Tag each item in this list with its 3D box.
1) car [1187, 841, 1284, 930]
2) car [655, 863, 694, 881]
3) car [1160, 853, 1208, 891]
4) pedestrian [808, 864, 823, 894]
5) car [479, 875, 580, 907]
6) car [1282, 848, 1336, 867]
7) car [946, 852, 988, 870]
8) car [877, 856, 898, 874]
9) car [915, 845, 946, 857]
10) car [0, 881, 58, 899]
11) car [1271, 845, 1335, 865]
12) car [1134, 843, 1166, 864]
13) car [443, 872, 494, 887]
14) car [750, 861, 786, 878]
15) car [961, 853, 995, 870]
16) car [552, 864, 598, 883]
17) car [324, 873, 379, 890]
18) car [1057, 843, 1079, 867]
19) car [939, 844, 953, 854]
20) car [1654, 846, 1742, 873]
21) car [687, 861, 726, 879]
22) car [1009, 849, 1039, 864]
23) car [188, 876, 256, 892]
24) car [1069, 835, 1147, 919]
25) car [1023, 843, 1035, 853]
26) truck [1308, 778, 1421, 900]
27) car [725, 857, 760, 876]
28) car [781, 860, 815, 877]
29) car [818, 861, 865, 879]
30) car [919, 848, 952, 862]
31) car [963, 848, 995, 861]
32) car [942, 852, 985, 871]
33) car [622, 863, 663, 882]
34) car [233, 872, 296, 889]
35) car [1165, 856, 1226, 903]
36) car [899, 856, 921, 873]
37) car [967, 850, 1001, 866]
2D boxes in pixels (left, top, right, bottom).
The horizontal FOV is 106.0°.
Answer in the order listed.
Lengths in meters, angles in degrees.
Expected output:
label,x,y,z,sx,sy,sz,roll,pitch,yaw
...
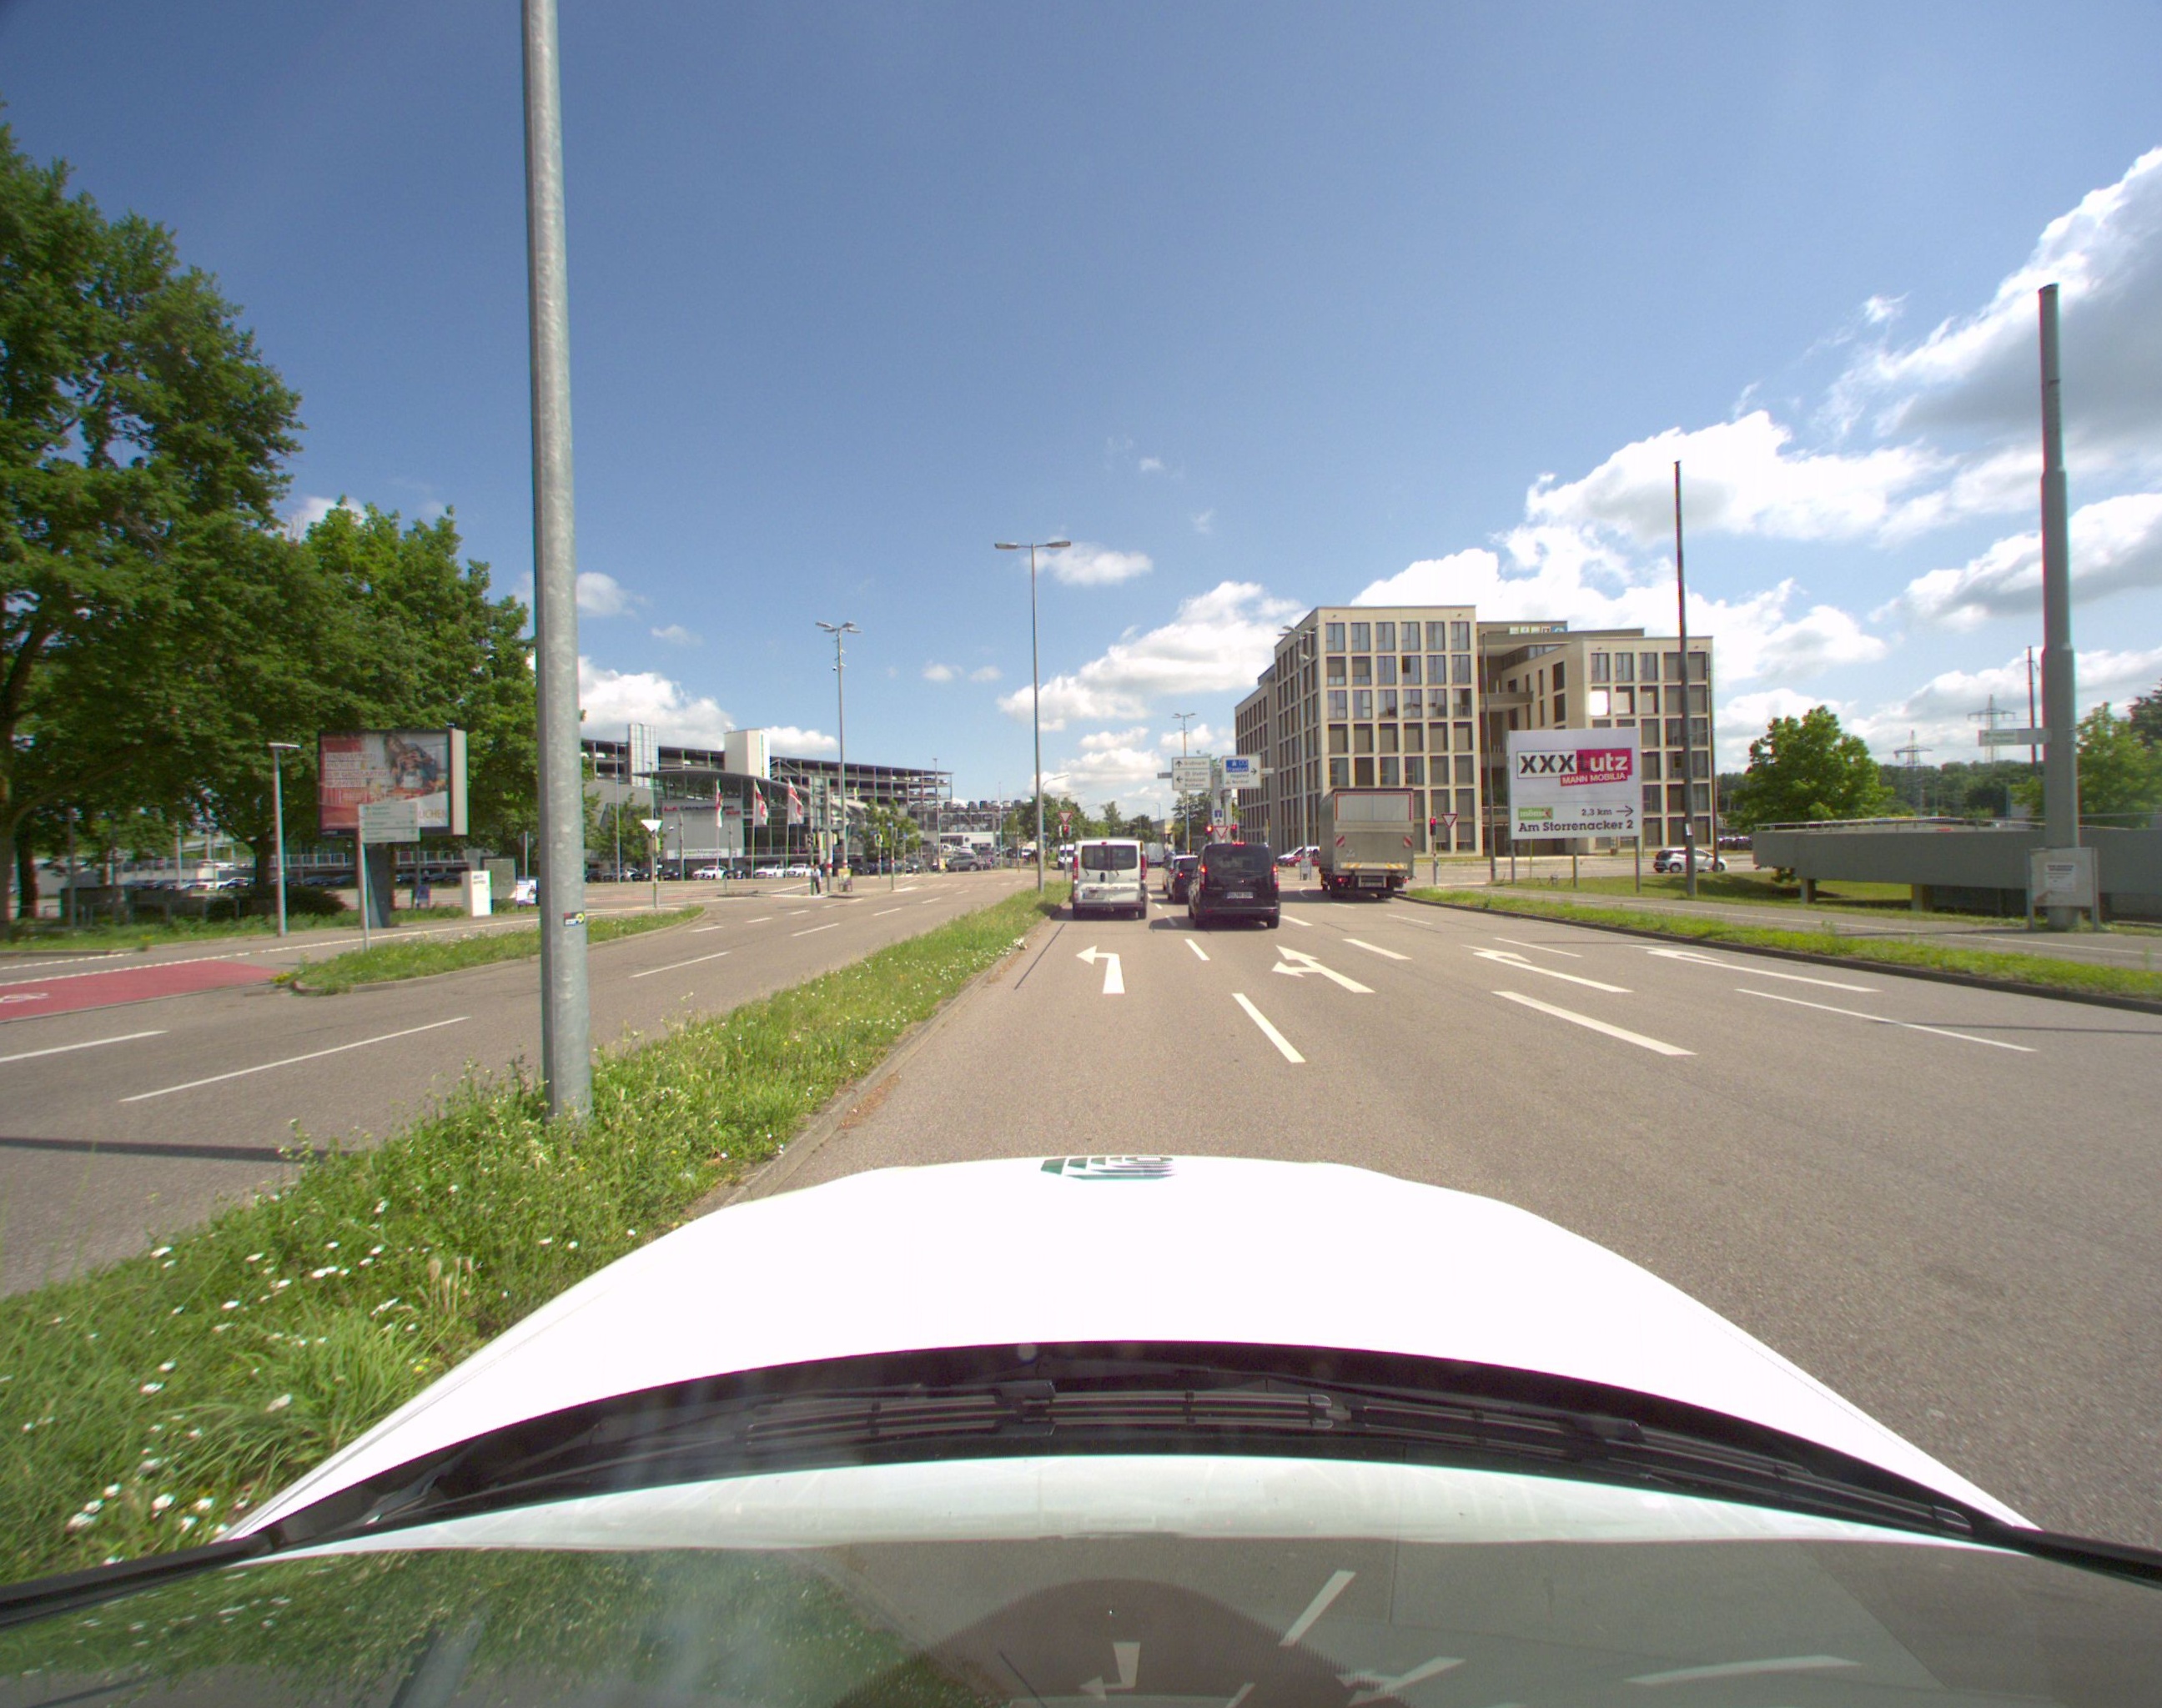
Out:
label,x,y,z,sx,sy,sz,roll,pitch,yaw
car,3.416,0.638,18.674,1.811,1.809,4.006,0,0,5
car,-36.908,1.643,74.058,1.722,1.486,3.699,-1,1,-1
car,4.314,0.737,34.516,1.733,1.543,4.003,0,-1,3
pedestrian,-13.257,1.238,40.673,0.464,1.512,0.515,-1,-1,27
car,-29.637,1.955,43.870,3.976,1.509,1.999,-1,1,-2
car,18.407,0.297,65.856,3.880,1.490,1.795,-1,0,1
car,-11.558,0.699,82.715,3.902,1.712,1.688,-3,0,-2
car,-17.798,0.988,74.740,1.820,1.552,3.980,0,0,-15
car,-22.080,-0.368,119.500,4.156,1.713,1.686,0,0,-4
car,-93.766,3.170,72.090,1.691,1.390,3.733,0,0,2
car,19.072,0.075,70.048,4.979,1.607,1.995,-1,0,-8
car,7.605,-0.083,90.355,1.994,2.255,5.493,-1,1,-11
car,-52.245,2.150,69.544,1.585,1.191,3.506,0,0,2
car,-28.616,1.404,74.519,1.902,1.376,3.750,-1,1,-2
car,-11.463,0.860,90.488,3.498,1.712,1.602,-3,0,-2
car,-44.812,1.699,72.233,1.832,1.488,3.697,-1,1,-3
car,-63.745,2.407,71.198,1.585,1.390,3.506,0,0,2
car,-1.385,0.092,82.698,1.967,2.256,4.975,-3,1,-3
car,-21.974,-0.809,132.806,1.841,1.530,3.997,-1,1,-2
car,35.774,0.316,47.296,3.836,1.466,1.696,-1,0,1
car,-34.117,1.419,74.294,1.874,1.486,3.699,-1,1,-2
car,-7.807,0.352,111.641,3.980,1.926,1.824,0,0,-5
car,-77.083,2.693,73.175,1.790,1.254,4.003,-1,1,2
car,0.797,0.567,21.510,1.847,2.018,4.005,0,0,4
car,-8.449,-0.939,132.509,1.841,1.530,3.997,-1,1,-2
truck,10.410,-0.523,30.817,3.108,3.940,8.891,-1,1,13
car,-30.800,1.141,74.203,1.752,1.660,3.614,-1,1,-2
car,-25.949,1.303,74.740,1.771,1.450,4.027,-1,1,-2
car,-21.849,1.465,74.327,3.783,1.513,1.677,-1,0,-3
car,-19.522,0.135,109.562,4.156,1.713,1.686,0,0,-4
car,-13.884,0.116,110.886,4.157,1.713,1.687,0,0,-4
car,-11.518,0.760,80.108,3.851,1.639,1.857,-3,0,-2
car,-40.618,1.668,75.528,1.810,1.664,3.791,0,0,-2
car,-72.245,2.359,72.106,1.691,1.390,3.733,0,0,2
car,3.834,0.829,27.743,1.733,1.495,4.003,0,-1,3
car,-15.802,0.968,75.158,1.820,1.552,3.980,0,0,-15
car,-11.711,0.506,98.635,3.902,1.712,1.688,-3,0,-2
